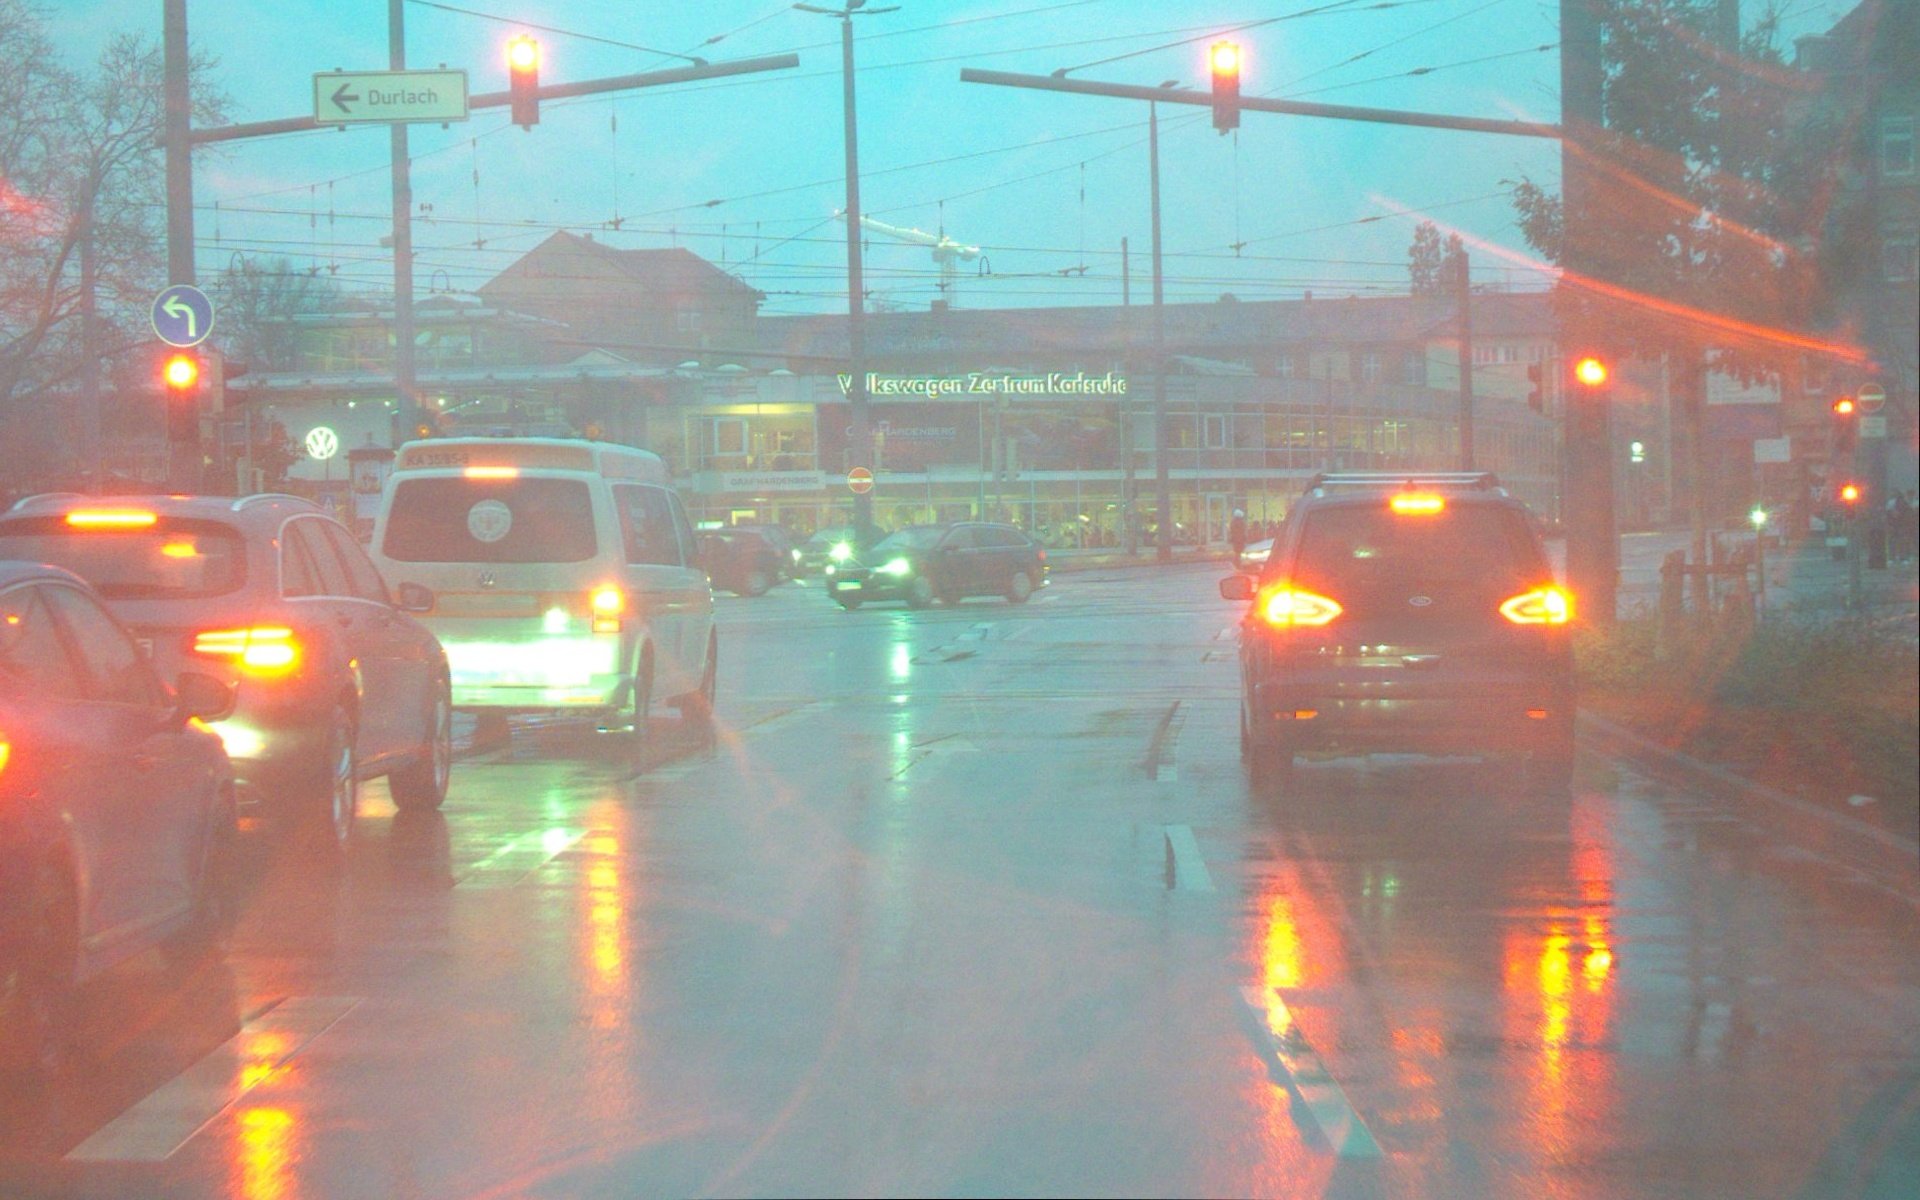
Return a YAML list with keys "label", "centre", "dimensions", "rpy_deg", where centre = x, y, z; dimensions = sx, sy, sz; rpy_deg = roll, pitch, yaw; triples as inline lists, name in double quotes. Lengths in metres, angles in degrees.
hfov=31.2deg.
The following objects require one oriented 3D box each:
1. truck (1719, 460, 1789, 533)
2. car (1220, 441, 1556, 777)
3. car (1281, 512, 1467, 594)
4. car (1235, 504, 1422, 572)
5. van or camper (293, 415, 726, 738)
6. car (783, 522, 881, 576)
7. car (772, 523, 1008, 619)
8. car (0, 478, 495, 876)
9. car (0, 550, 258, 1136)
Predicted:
- label: "truck"
  centre: [30.377, -3.938, 131.427]
  dimensions: [1.995, 2.682, 5.110]
  rpy_deg: [-1, 1, 20]
- label: "car"
  centre: [2.454, -0.014, 20.594]
  dimensions: [1.778, 1.794, 4.424]
  rpy_deg: [0, 2, 4]
- label: "car"
  centre: [8.516, -0.978, 70.459]
  dimensions: [1.998, 1.597, 3.991]
  rpy_deg: [-1, 1, 38]
- label: "car"
  centre: [8.035, -1.360, 75.223]
  dimensions: [3.804, 1.361, 1.852]
  rpy_deg: [-2, 1, -2]
- label: "van or camper"
  centre: [-3.128, -0.201, 25.026]
  dimensions: [2.202, 2.102, 4.987]
  rpy_deg: [0, 1, 4]
- label: "car"
  centre: [-3.569, -1.432, 96.282]
  dimensions: [1.814, 1.441, 3.998]
  rpy_deg: [-1, 1, 12]
- label: "car"
  centre: [-1.173, -0.511, 59.227]
  dimensions: [1.998, 1.509, 3.992]
  rpy_deg: [-1, 2, 37]
- label: "car"
  centre: [-3.451, 0.271, 16.384]
  dimensions: [1.785, 1.595, 4.541]
  rpy_deg: [2, 1, 0]
- label: "car"
  centre: [-3.245, 0.562, 10.167]
  dimensions: [1.659, 1.399, 4.121]
  rpy_deg: [1, 1, -3]
